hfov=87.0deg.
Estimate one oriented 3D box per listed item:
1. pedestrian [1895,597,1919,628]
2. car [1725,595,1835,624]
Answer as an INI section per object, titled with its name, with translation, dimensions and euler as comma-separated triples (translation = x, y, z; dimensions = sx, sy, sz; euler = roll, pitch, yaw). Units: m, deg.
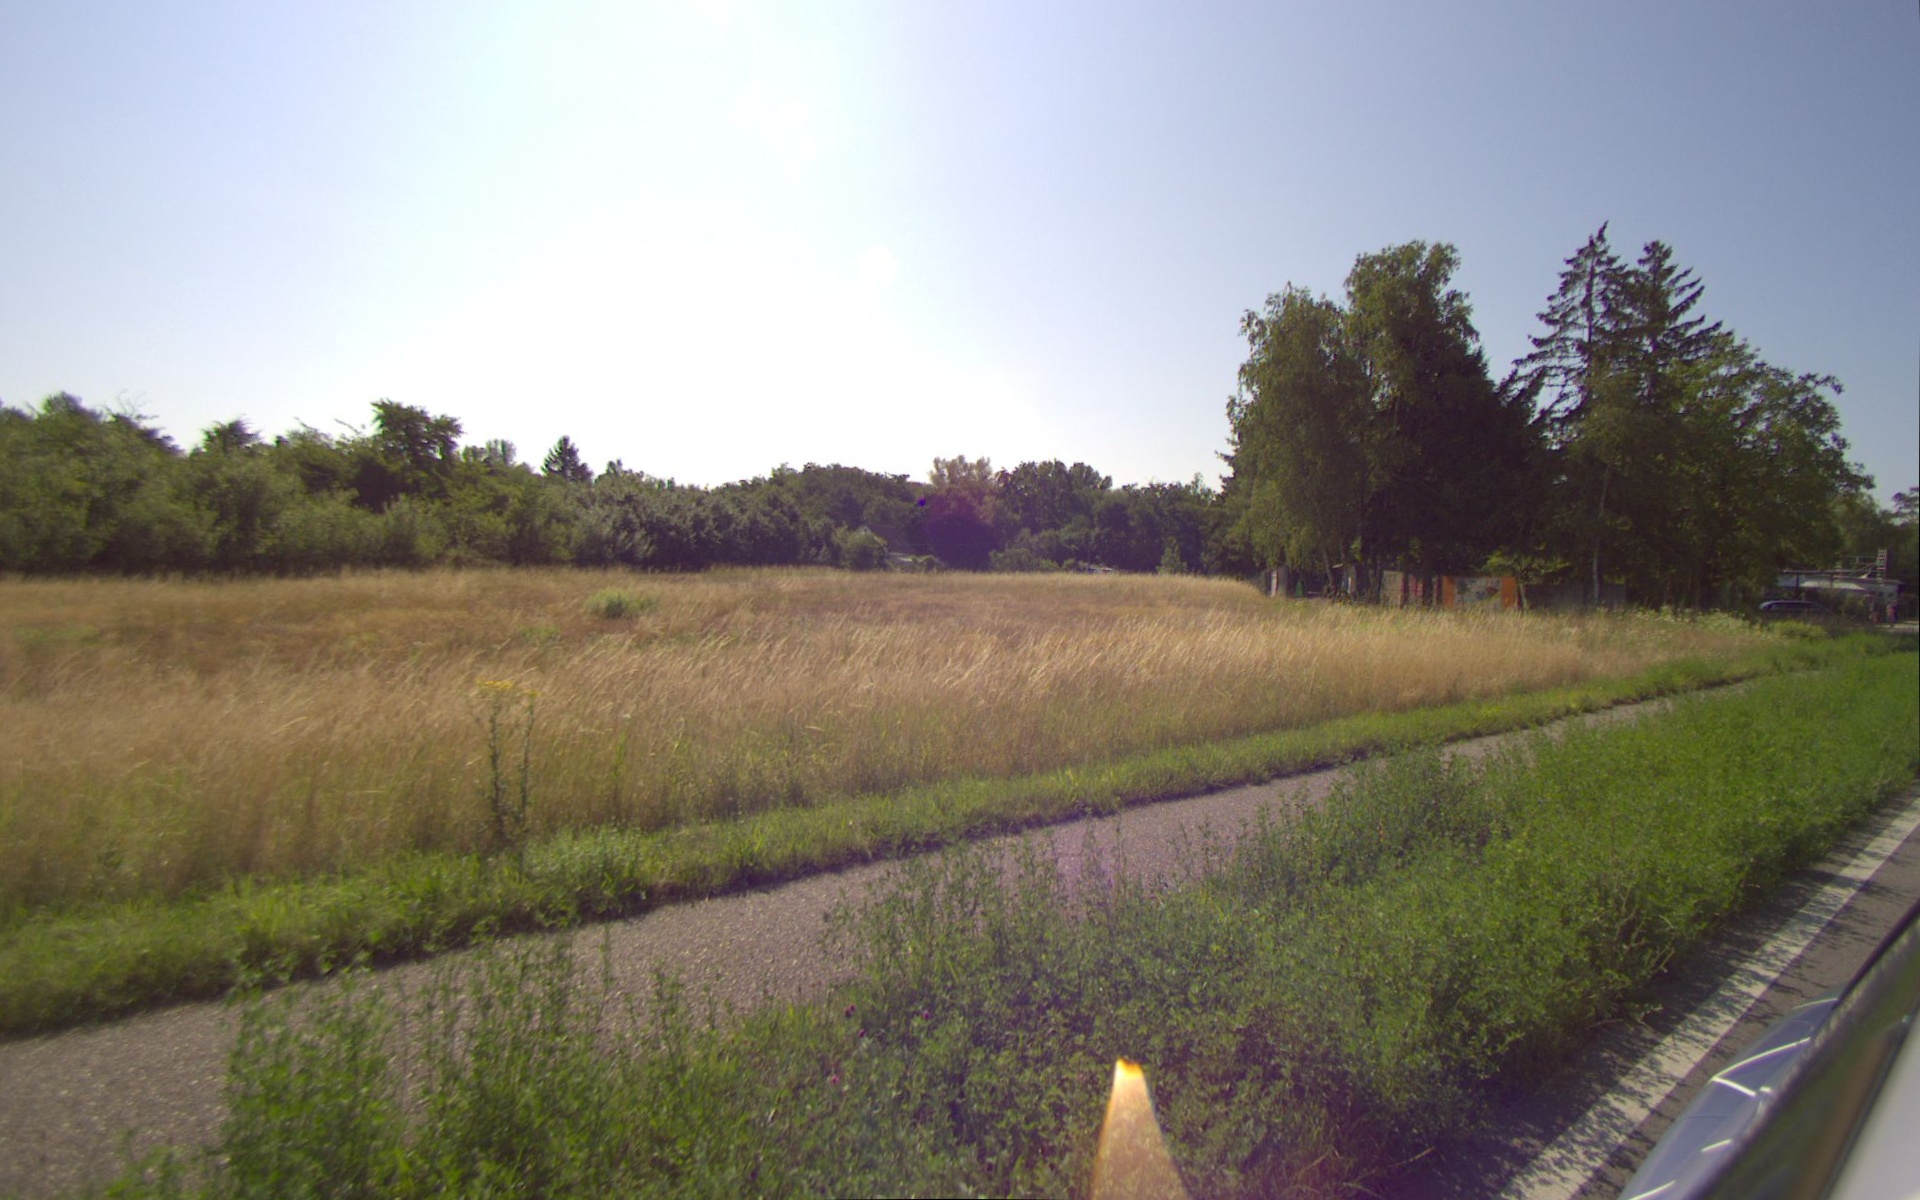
[pedestrian]
translation = 56.566, 0.752, 60.318
dimensions = 1.096, 1.808, 0.923
euler = 3, 2, 41
[car]
translation = 45.697, 0.502, 56.501
dimensions = 4.411, 1.448, 1.703
euler = 2, 1, 22
